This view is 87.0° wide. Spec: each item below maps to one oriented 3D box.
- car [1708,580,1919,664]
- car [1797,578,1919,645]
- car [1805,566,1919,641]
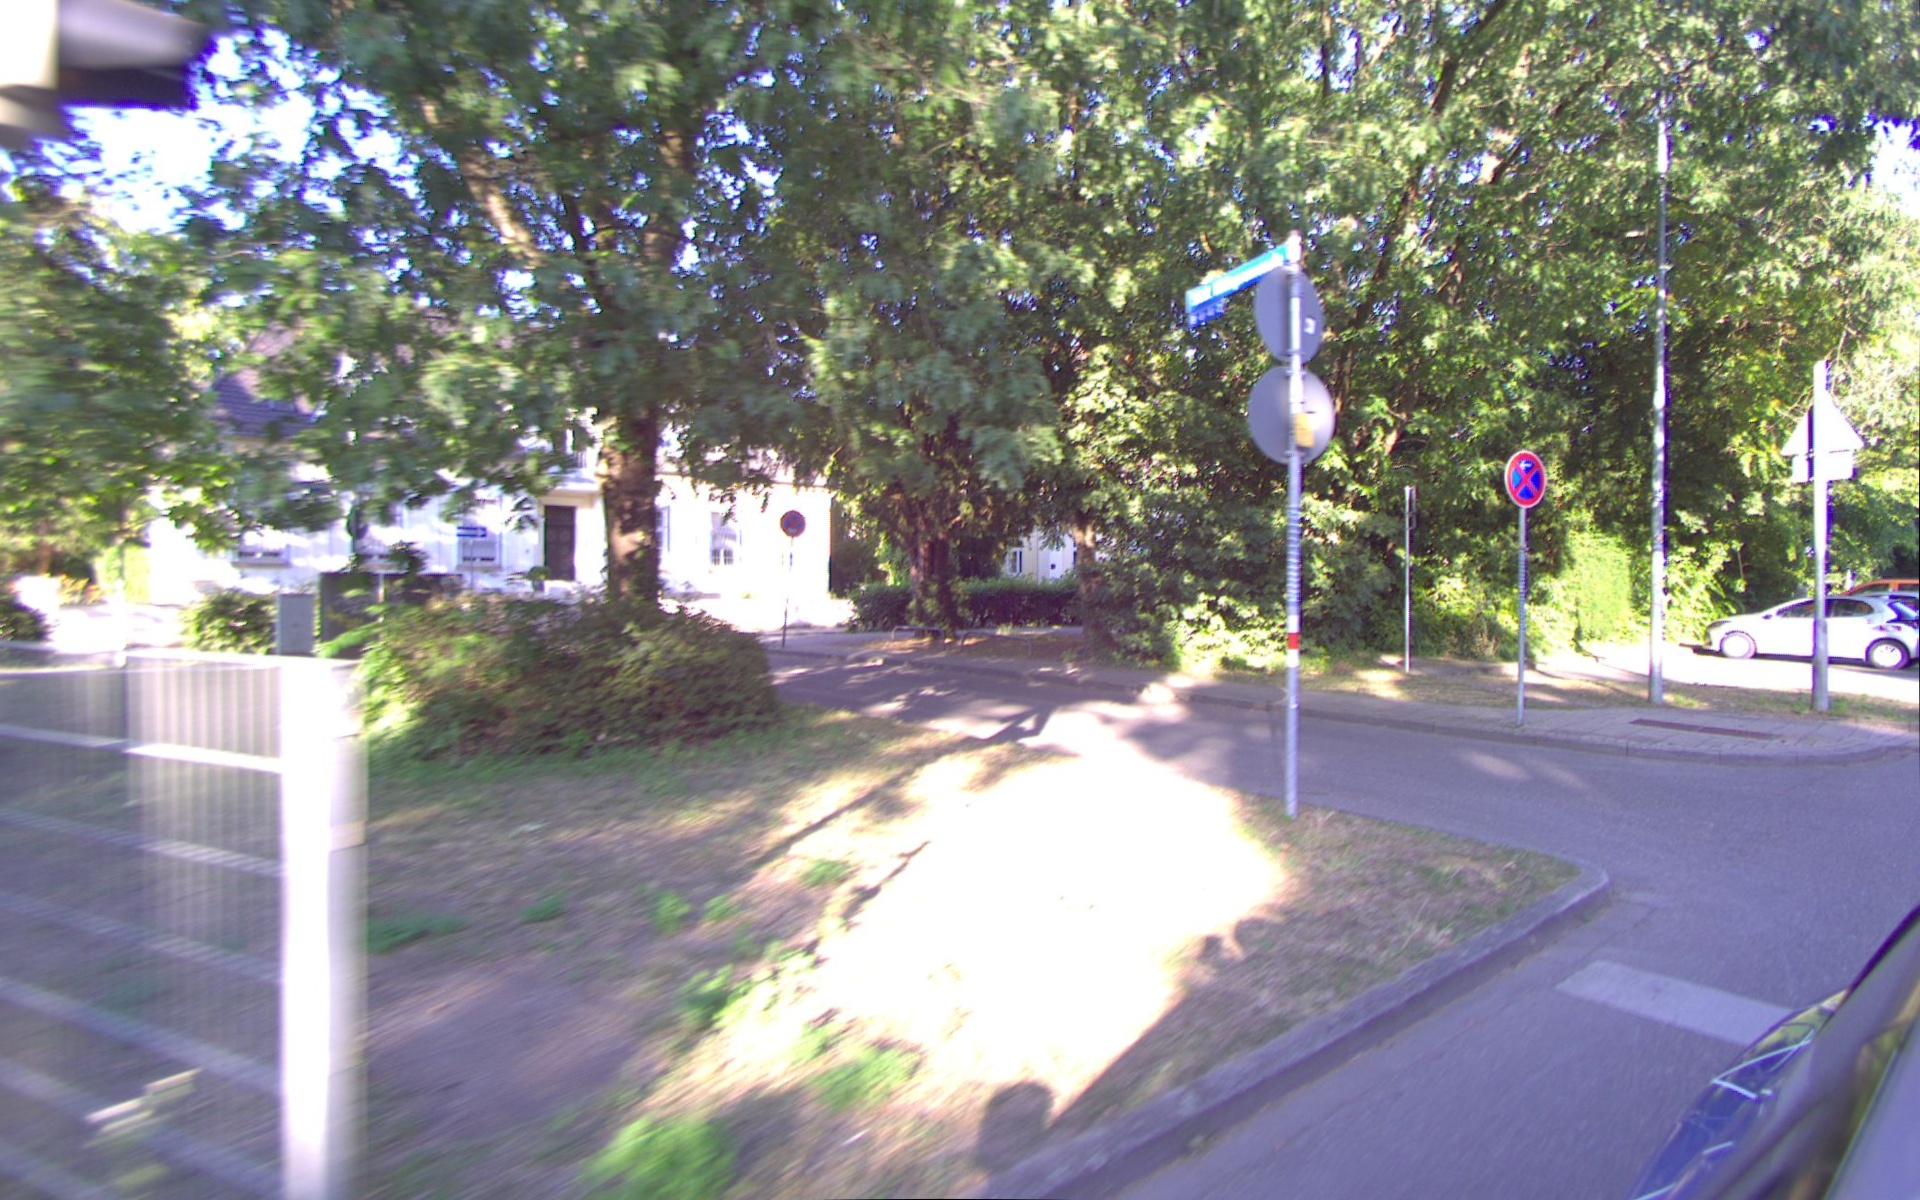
[{"bbox_3d":[18.985,0.408,22.057,1.704,1.565,3.998,-1,3,-39],"label":"car"},{"bbox_3d":[24.940,0.275,27.211,1.647,1.651,3.409,-1,3,-35],"label":"car"},{"bbox_3d":[27.243,0.091,28.603,2.043,2.022,4.808,-1,3,-39],"label":"car"}]
